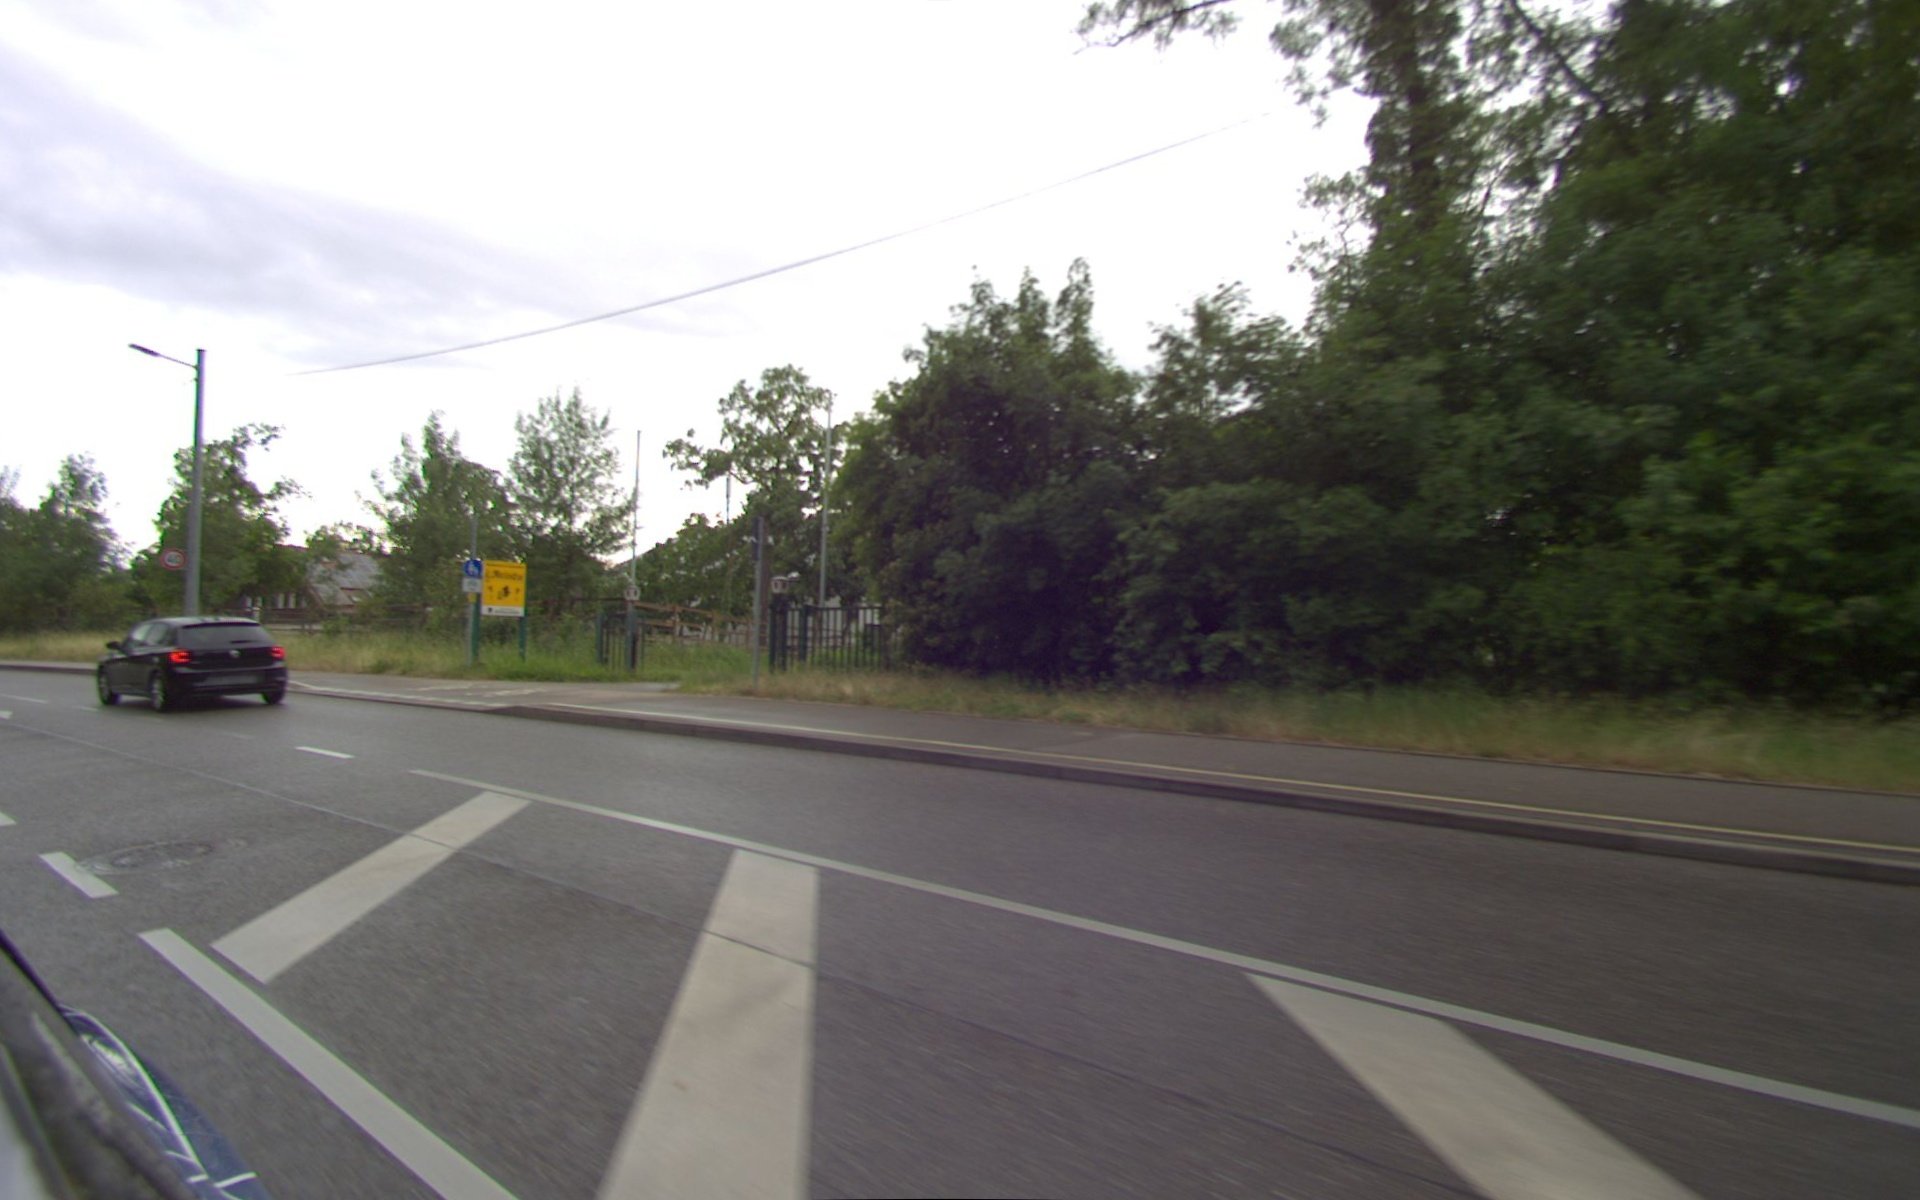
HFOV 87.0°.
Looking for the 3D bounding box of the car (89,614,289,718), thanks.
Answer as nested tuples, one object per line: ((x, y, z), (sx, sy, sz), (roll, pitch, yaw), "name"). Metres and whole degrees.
((-12.668, 1.013, 16.572), (3.784, 1.488, 1.580), (-1, -1, 36), "car")
